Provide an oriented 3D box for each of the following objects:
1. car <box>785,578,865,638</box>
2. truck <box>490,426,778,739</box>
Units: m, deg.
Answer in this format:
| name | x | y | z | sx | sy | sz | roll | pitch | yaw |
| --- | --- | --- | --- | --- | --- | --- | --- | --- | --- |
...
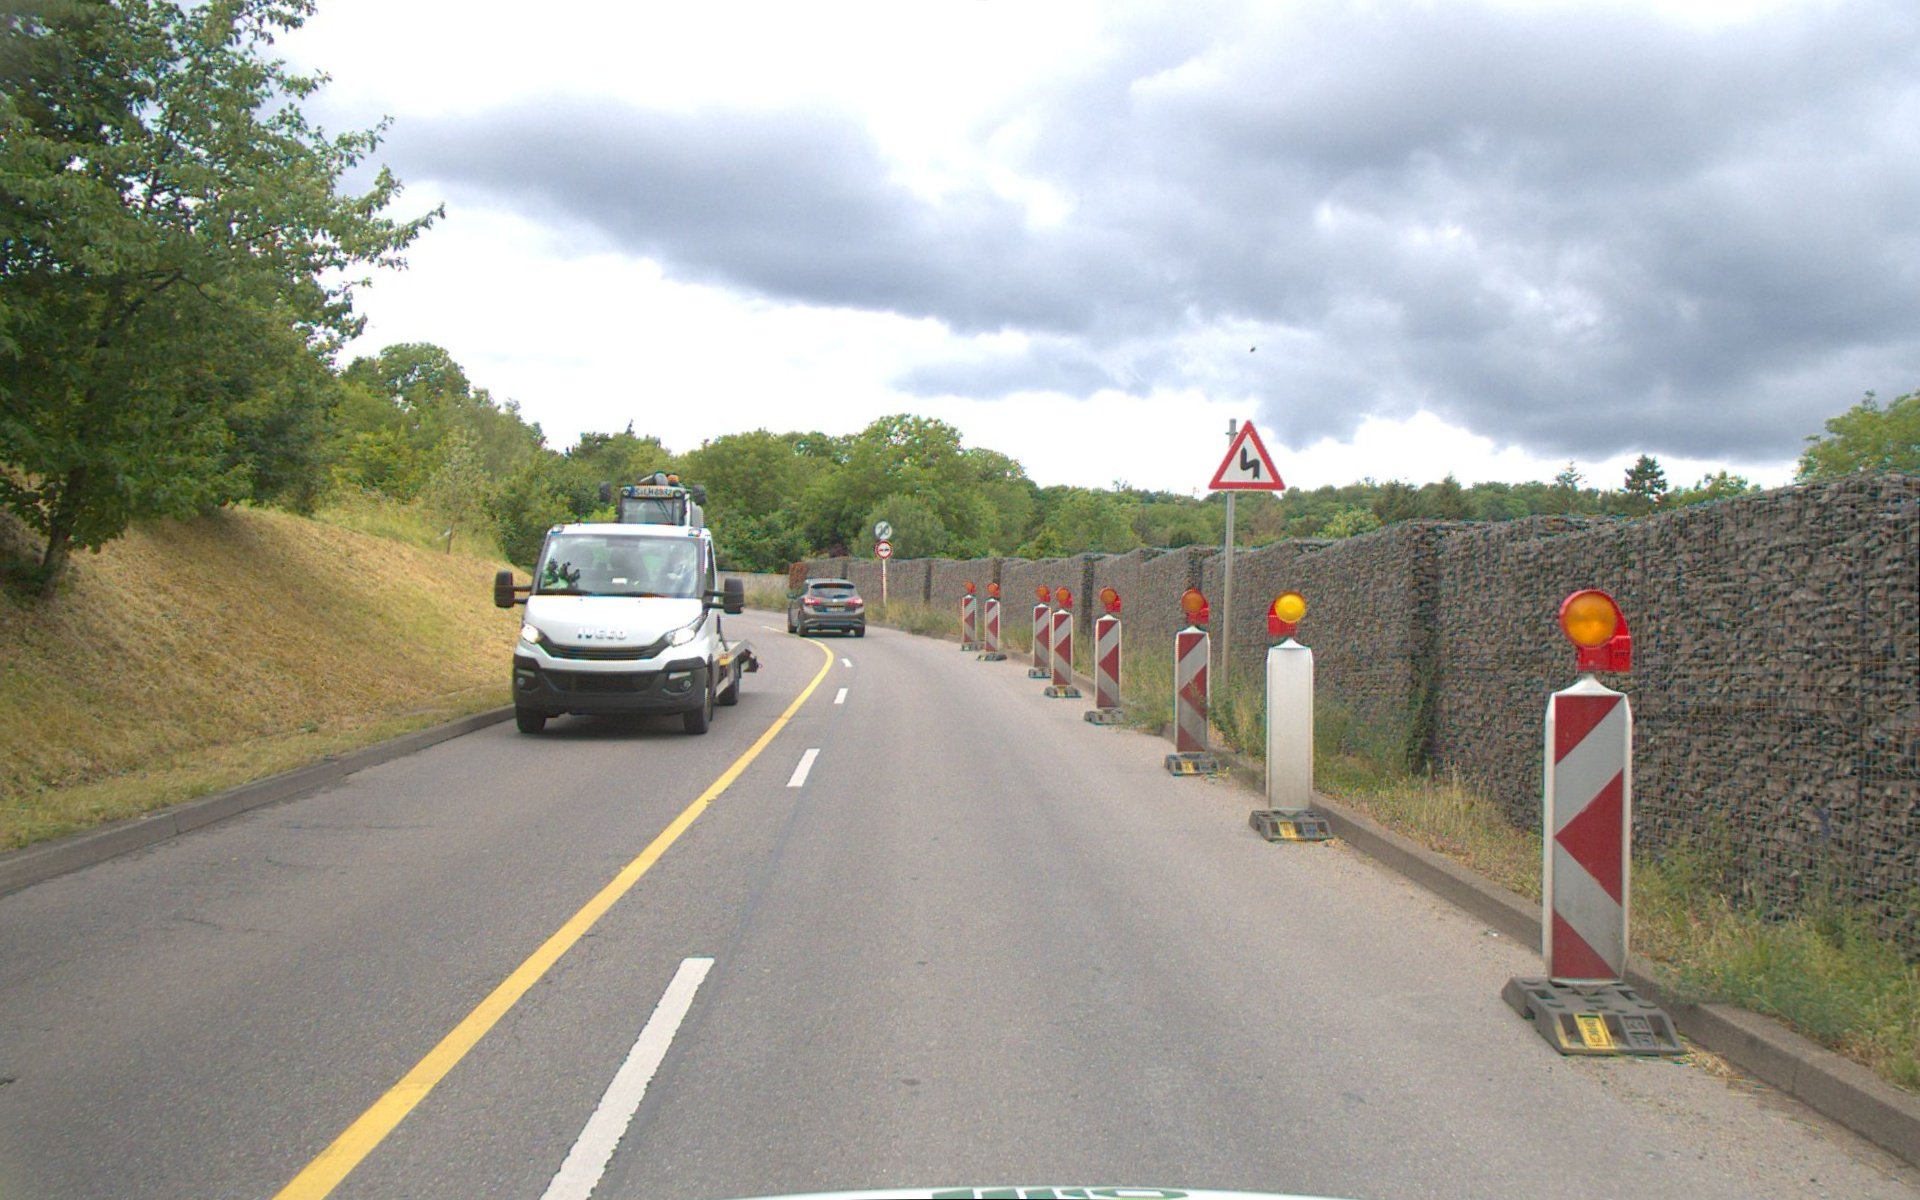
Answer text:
| name | x | y | z | sx | sy | sz | roll | pitch | yaw |
| --- | --- | --- | --- | --- | --- | --- | --- | --- | --- |
| car | -3.713 | 0.180 | 45.095 | 1.806 | 1.509 | 3.991 | -1 | 2 | -10 |
| truck | -3.626 | -0.208 | 20.131 | 2.170 | 3.067 | 7.737 | 0 | 1 | -2 |
